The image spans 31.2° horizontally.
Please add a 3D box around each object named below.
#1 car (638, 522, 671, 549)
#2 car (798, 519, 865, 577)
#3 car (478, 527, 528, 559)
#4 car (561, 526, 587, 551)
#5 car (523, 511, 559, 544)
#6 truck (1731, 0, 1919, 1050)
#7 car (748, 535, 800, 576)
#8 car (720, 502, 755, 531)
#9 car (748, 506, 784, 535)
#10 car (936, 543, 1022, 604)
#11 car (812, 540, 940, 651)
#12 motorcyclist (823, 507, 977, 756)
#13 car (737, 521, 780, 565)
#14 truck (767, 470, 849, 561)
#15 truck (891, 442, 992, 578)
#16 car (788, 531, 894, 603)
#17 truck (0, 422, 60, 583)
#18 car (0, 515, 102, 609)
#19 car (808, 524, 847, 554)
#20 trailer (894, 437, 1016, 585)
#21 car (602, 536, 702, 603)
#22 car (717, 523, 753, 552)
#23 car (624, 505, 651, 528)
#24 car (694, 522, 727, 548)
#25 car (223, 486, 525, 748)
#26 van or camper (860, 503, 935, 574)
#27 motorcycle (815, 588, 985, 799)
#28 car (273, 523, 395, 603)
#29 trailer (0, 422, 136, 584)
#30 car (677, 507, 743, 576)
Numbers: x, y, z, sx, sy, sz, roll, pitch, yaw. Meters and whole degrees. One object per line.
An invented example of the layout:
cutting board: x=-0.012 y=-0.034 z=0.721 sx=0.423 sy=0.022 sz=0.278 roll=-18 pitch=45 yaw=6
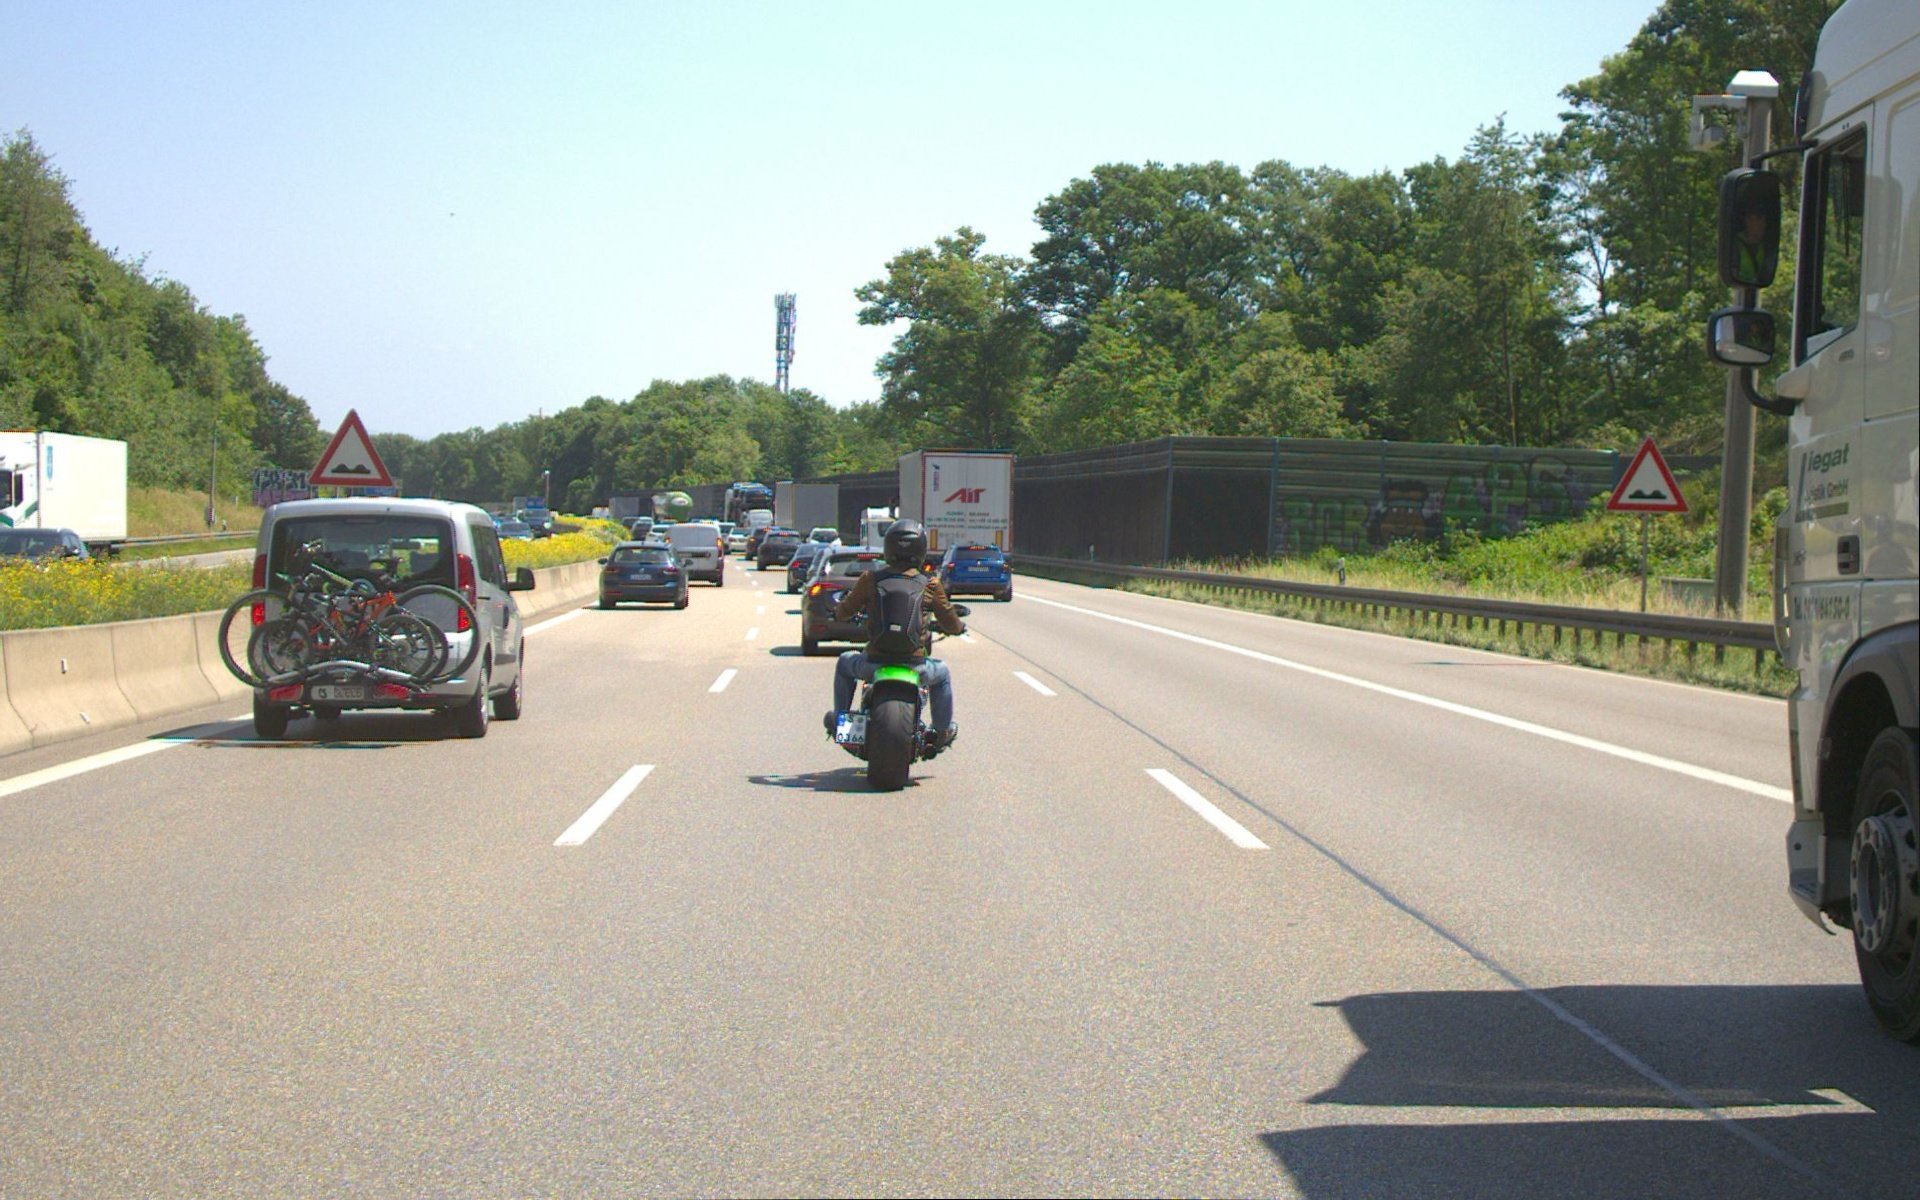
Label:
car: x=-17.198 y=-3.617 z=193.633 sx=1.832 sy=1.491 sz=3.744 roll=1 pitch=0 yaw=-5
car: x=-3.518 y=-1.406 z=93.854 sx=1.779 sy=1.547 sz=3.585 roll=1 pitch=0 yaw=-2
car: x=-21.868 y=-2.703 z=164.665 sx=1.993 sy=1.481 sz=4.000 roll=1 pitch=0 yaw=-2
car: x=-29.172 y=-4.612 z=259.846 sx=1.835 sy=1.842 sz=3.778 roll=1 pitch=0 yaw=-5
car: x=-26.235 y=-4.523 z=215.222 sx=1.993 sy=2.007 sz=4.421 roll=1 pitch=0 yaw=-4
truck: x=4.166 y=-0.769 z=9.169 sx=2.786 sy=4.190 sz=5.870 roll=1 pitch=2 yaw=0
car: x=-7.513 y=-1.785 z=138.631 sx=1.993 sy=1.634 sz=4.001 roll=1 pitch=0 yaw=-4
car: x=-15.125 y=-5.654 z=233.895 sx=2.107 sy=1.870 sz=4.001 roll=1 pitch=0 yaw=-7
car: x=-12.892 y=-5.259 z=228.425 sx=2.107 sy=1.870 sz=4.001 roll=1 pitch=0 yaw=-7
car: x=0.450 y=-0.676 z=87.380 sx=1.650 sy=1.477 sz=4.482 roll=1 pitch=0 yaw=-6
car: x=-1.173 y=-0.069 z=47.390 sx=1.662 sy=1.448 sz=3.869 roll=1 pitch=0 yaw=-2
motorcyclist: x=-0.353 y=0.184 z=21.383 sx=0.899 sy=1.470 sz=1.872 roll=1 pitch=0 yaw=0
car: x=-9.675 y=-2.722 z=164.855 sx=1.911 sy=2.007 sz=3.691 roll=1 pitch=0 yaw=-6
truck: x=-8.671 y=-4.719 z=194.948 sx=3.802 sy=4.943 sz=8.953 roll=1 pitch=0 yaw=-8
truck: x=-0.627 y=-2.845 z=108.535 sx=2.885 sy=4.132 sz=5.987 roll=1 pitch=1 yaw=-3
car: x=-2.512 y=-0.688 z=71.605 sx=1.993 sy=1.425 sz=3.848 roll=1 pitch=0 yaw=-5
truck: x=-25.371 y=-2.503 z=89.540 sx=2.689 sy=4.076 sz=5.204 roll=1 pitch=0 yaw=-3
car: x=-16.897 y=-0.717 z=62.064 sx=1.948 sy=1.636 sz=3.981 roll=1 pitch=1 yaw=-2
car: x=-7.070 y=-3.244 z=182.995 sx=1.993 sy=1.568 sz=4.001 roll=1 pitch=0 yaw=-4
trailer: x=-0.271 y=-2.630 z=101.715 sx=2.885 sy=4.024 sz=13.797 roll=1 pitch=1 yaw=-3
car: x=-6.552 y=-0.645 z=73.519 sx=1.993 sy=1.382 sz=4.000 roll=1 pitch=0 yaw=-3
car: x=-12.014 y=-3.351 z=183.539 sx=1.832 sy=1.491 sz=3.744 roll=1 pitch=0 yaw=-5
car: x=-22.011 y=-5.668 z=234.590 sx=1.832 sy=1.491 sz=3.744 roll=1 pitch=0 yaw=-6
car: x=-14.622 y=-3.807 z=201.605 sx=1.832 sy=1.491 sz=3.744 roll=1 pitch=0 yaw=-5
car: x=-4.508 y=0.108 z=27.031 sx=1.899 sy=1.867 sz=4.413 roll=1 pitch=0 yaw=-4
van or camper: x=-2.585 y=-2.480 z=141.196 sx=2.685 sy=2.803 sz=6.804 roll=1 pitch=0 yaw=-4
motorcycle: x=-0.354 y=0.538 z=21.450 sx=0.964 sy=1.144 sz=2.812 roll=1 pitch=1 yaw=0
car: x=-13.533 y=-0.820 z=74.561 sx=1.993 sy=1.672 sz=4.081 roll=1 pitch=1 yaw=-2
trailer: x=-25.773 y=-2.591 z=96.413 sx=2.714 sy=4.193 sz=13.934 roll=1 pitch=0 yaw=-3
car: x=-7.480 y=-1.734 z=102.918 sx=1.791 sy=2.007 sz=3.642 roll=1 pitch=0 yaw=-2
